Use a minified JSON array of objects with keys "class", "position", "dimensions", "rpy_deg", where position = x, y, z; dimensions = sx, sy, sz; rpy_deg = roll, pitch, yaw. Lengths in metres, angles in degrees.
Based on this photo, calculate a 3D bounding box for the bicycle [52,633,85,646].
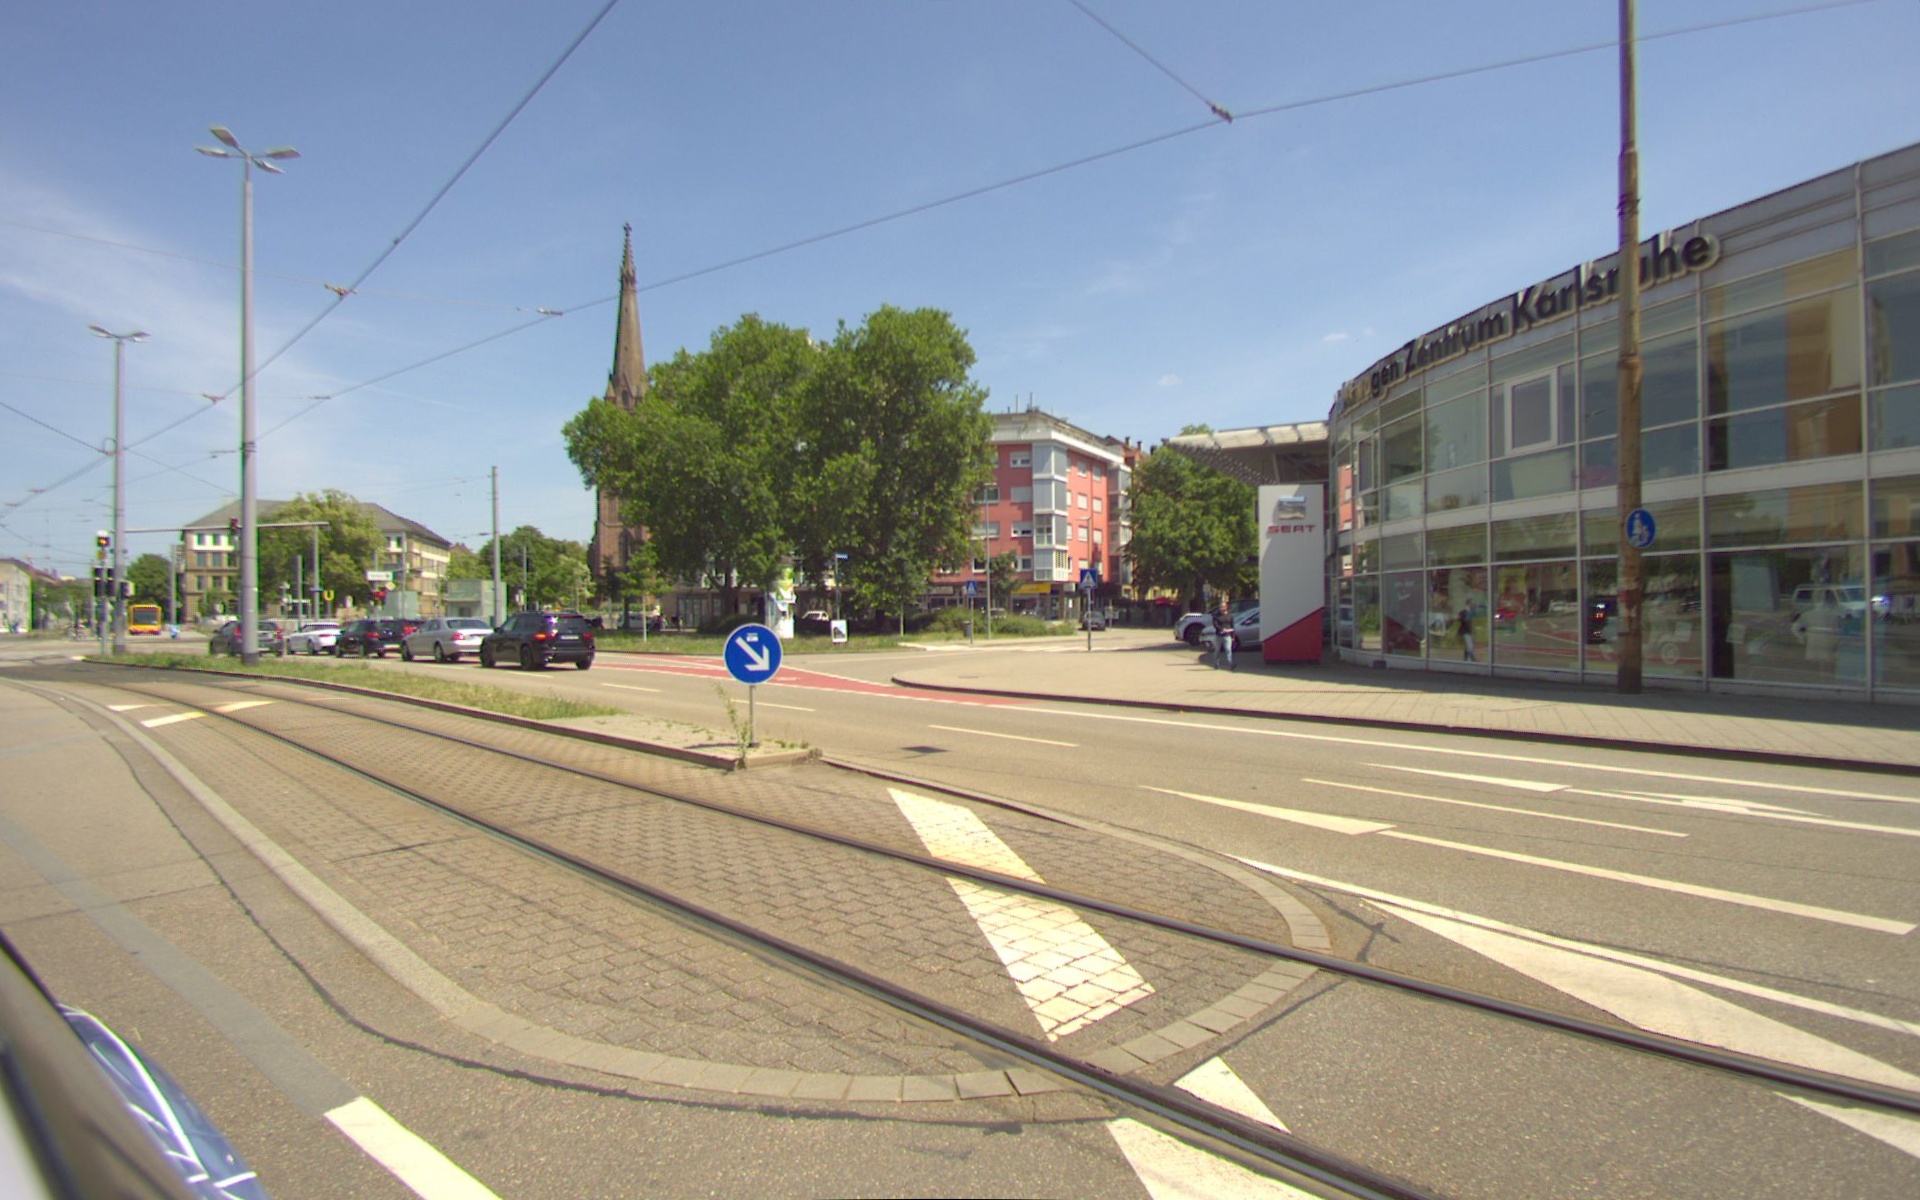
[{"class":"bicycle","position":[-71.225,3.185,80.872],"dimensions":[0.527,0.986,1.884],"rpy_deg":[-2,-1,35]}]

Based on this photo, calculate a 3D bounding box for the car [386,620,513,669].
[{"class":"car","position":[-17.316,1.459,34.204],"dimensions":[5.127,1.542,1.973],"rpy_deg":[-1,-2,40]}]

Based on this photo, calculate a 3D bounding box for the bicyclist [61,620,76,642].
[{"class":"bicyclist","position":[-71.292,2.497,80.931],"dimensions":[0.527,1.701,0.803],"rpy_deg":[-2,-1,35]}]

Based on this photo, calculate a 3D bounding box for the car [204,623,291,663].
[{"class":"car","position":[-27.979,1.681,39.705],"dimensions":[4.328,1.491,1.824],"rpy_deg":[-2,-2,41]}]

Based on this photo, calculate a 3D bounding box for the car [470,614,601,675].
[{"class":"car","position":[-12.294,1.250,29.201],"dimensions":[4.525,1.639,1.802],"rpy_deg":[-2,-2,43]}]

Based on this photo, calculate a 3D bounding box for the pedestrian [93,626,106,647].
[{"class":"pedestrian","position":[-69.808,2.962,82.090],"dimensions":[0.447,1.684,0.651],"rpy_deg":[-1,-1,24]}]

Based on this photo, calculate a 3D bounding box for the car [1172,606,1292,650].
[{"class":"car","position":[10.107,1.038,37.703],"dimensions":[4.150,1.431,1.604],"rpy_deg":[-3,-1,16]}]

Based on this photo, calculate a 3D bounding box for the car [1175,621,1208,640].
[{"class":"car","position":[18.333,2.410,80.006],"dimensions":[1.537,1.444,3.962],"rpy_deg":[-1,-1,28]}]

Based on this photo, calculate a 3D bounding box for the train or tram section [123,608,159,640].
[{"class":"train or tram section","position":[-87.371,2.525,107.893],"dimensions":[2.799,3.238,9.124],"rpy_deg":[0,-1,-40]}]

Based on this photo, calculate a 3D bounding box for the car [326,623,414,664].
[{"class":"car","position":[-22.262,1.604,38.132],"dimensions":[3.900,1.473,1.654],"rpy_deg":[-2,-2,40]}]

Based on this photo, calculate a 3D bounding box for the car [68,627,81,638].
[{"class":"car","position":[-139.547,5.095,159.464],"dimensions":[1.419,1.608,4.006],"rpy_deg":[0,-1,-40]}]

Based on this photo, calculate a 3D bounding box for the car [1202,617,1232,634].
[{"class":"car","position":[22.322,2.201,87.787],"dimensions":[1.537,1.444,3.962],"rpy_deg":[-1,-1,28]}]

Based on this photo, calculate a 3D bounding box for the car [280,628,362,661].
[{"class":"car","position":[-26.906,1.838,42.550],"dimensions":[4.199,1.309,1.689],"rpy_deg":[-1,-2,40]}]

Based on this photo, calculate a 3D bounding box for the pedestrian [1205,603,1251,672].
[{"class":"pedestrian","position":[6.575,0.908,24.854],"dimensions":[0.820,1.654,0.719],"rpy_deg":[-2,-1,43]}]

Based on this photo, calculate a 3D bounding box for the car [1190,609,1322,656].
[{"class":"car","position":[9.931,1.084,34.173],"dimensions":[4.004,1.468,1.500],"rpy_deg":[-1,-1,5]}]

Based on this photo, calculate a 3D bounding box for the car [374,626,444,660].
[{"class":"car","position":[-27.090,2.100,49.715],"dimensions":[4.396,1.610,1.518],"rpy_deg":[-2,-3,40]}]
